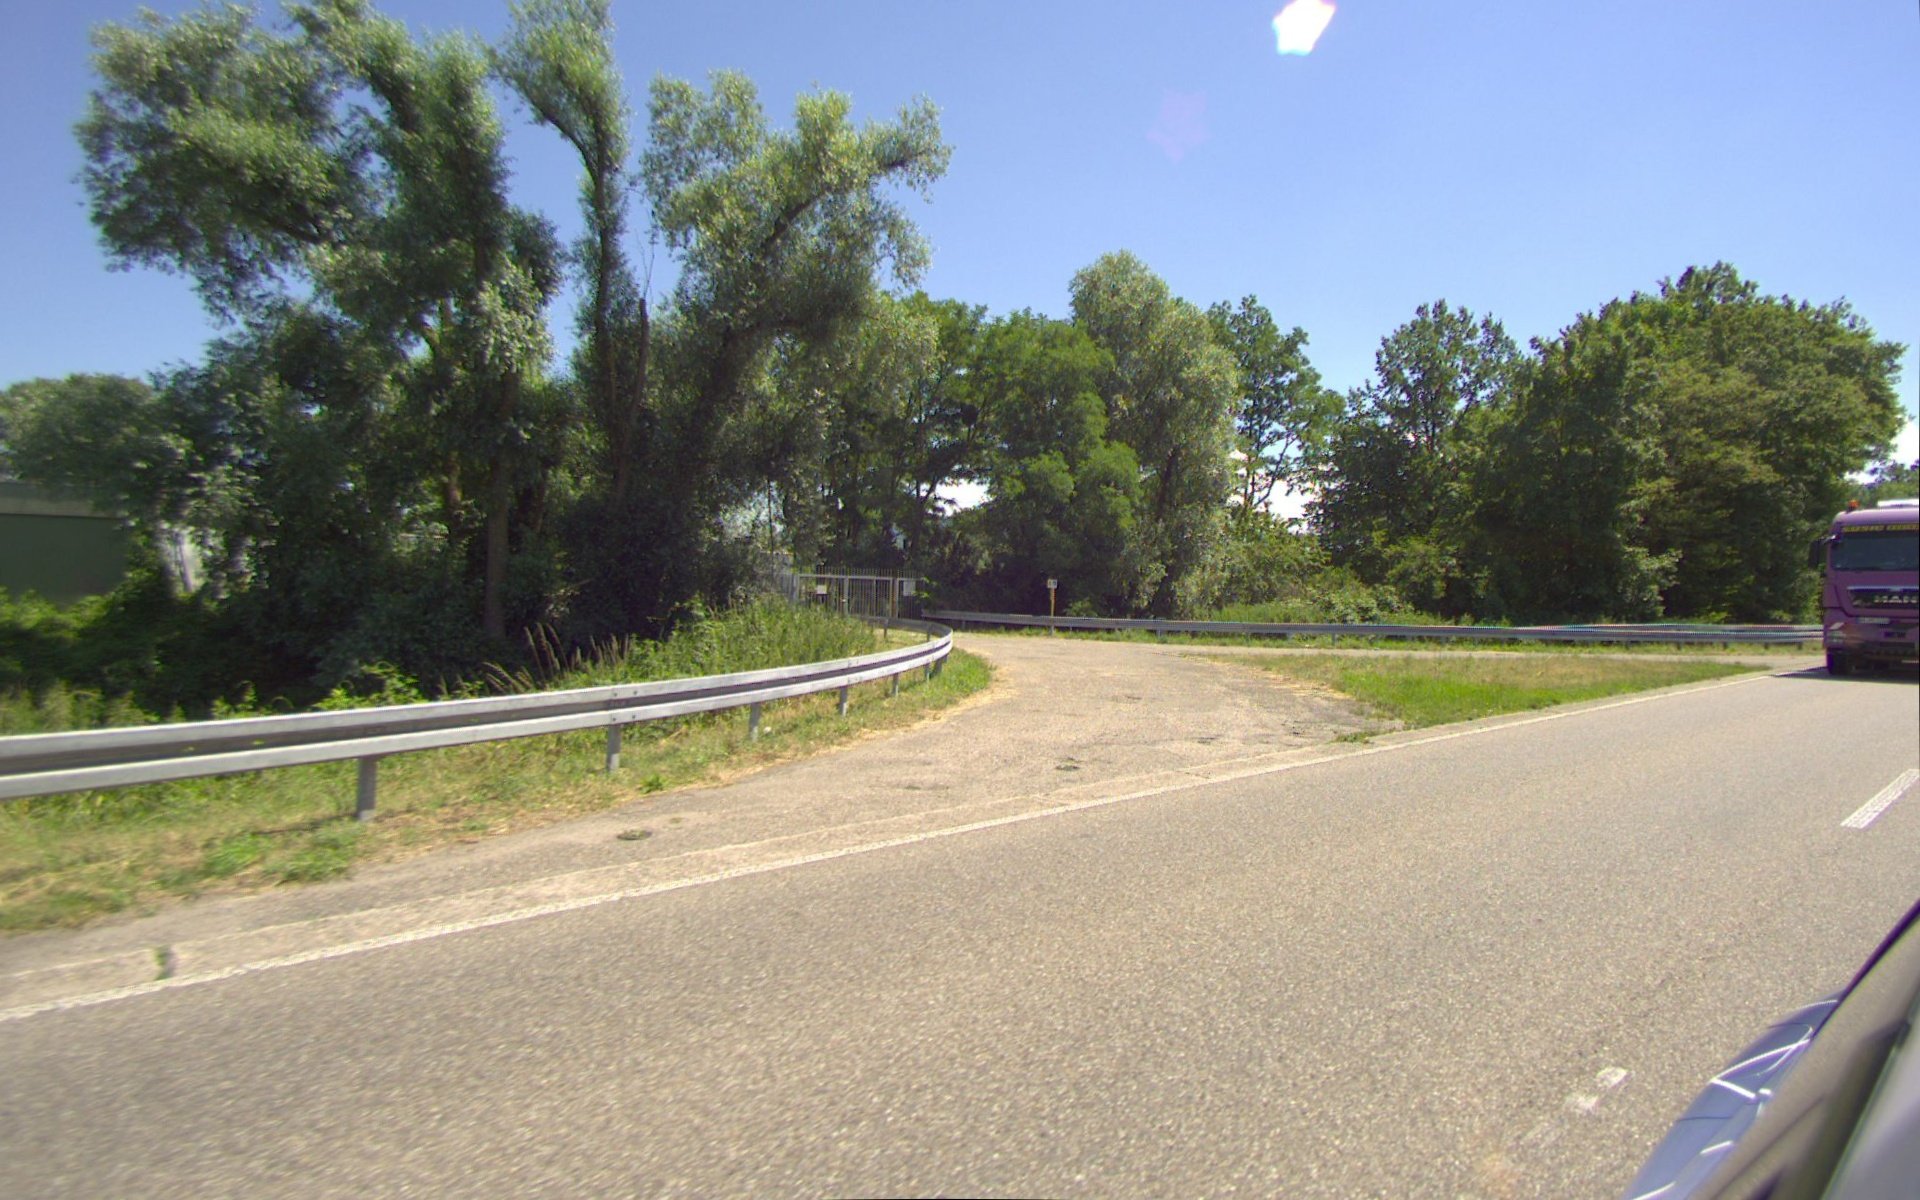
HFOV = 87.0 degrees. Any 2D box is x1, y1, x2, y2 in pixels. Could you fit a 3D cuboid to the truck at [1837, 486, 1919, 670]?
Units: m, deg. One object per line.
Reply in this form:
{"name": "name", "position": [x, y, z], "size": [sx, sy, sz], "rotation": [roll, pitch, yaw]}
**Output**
{"name": "truck", "position": [21.719, -0.392, 22.506], "size": [5.835, 3.738, 2.602], "rotation": [2, 0, -42]}

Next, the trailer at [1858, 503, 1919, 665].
{"name": "trailer", "position": [25.082, -0.285, 25.553], "size": [8.463, 3.675, 2.602], "rotation": [1, 0, -42]}
